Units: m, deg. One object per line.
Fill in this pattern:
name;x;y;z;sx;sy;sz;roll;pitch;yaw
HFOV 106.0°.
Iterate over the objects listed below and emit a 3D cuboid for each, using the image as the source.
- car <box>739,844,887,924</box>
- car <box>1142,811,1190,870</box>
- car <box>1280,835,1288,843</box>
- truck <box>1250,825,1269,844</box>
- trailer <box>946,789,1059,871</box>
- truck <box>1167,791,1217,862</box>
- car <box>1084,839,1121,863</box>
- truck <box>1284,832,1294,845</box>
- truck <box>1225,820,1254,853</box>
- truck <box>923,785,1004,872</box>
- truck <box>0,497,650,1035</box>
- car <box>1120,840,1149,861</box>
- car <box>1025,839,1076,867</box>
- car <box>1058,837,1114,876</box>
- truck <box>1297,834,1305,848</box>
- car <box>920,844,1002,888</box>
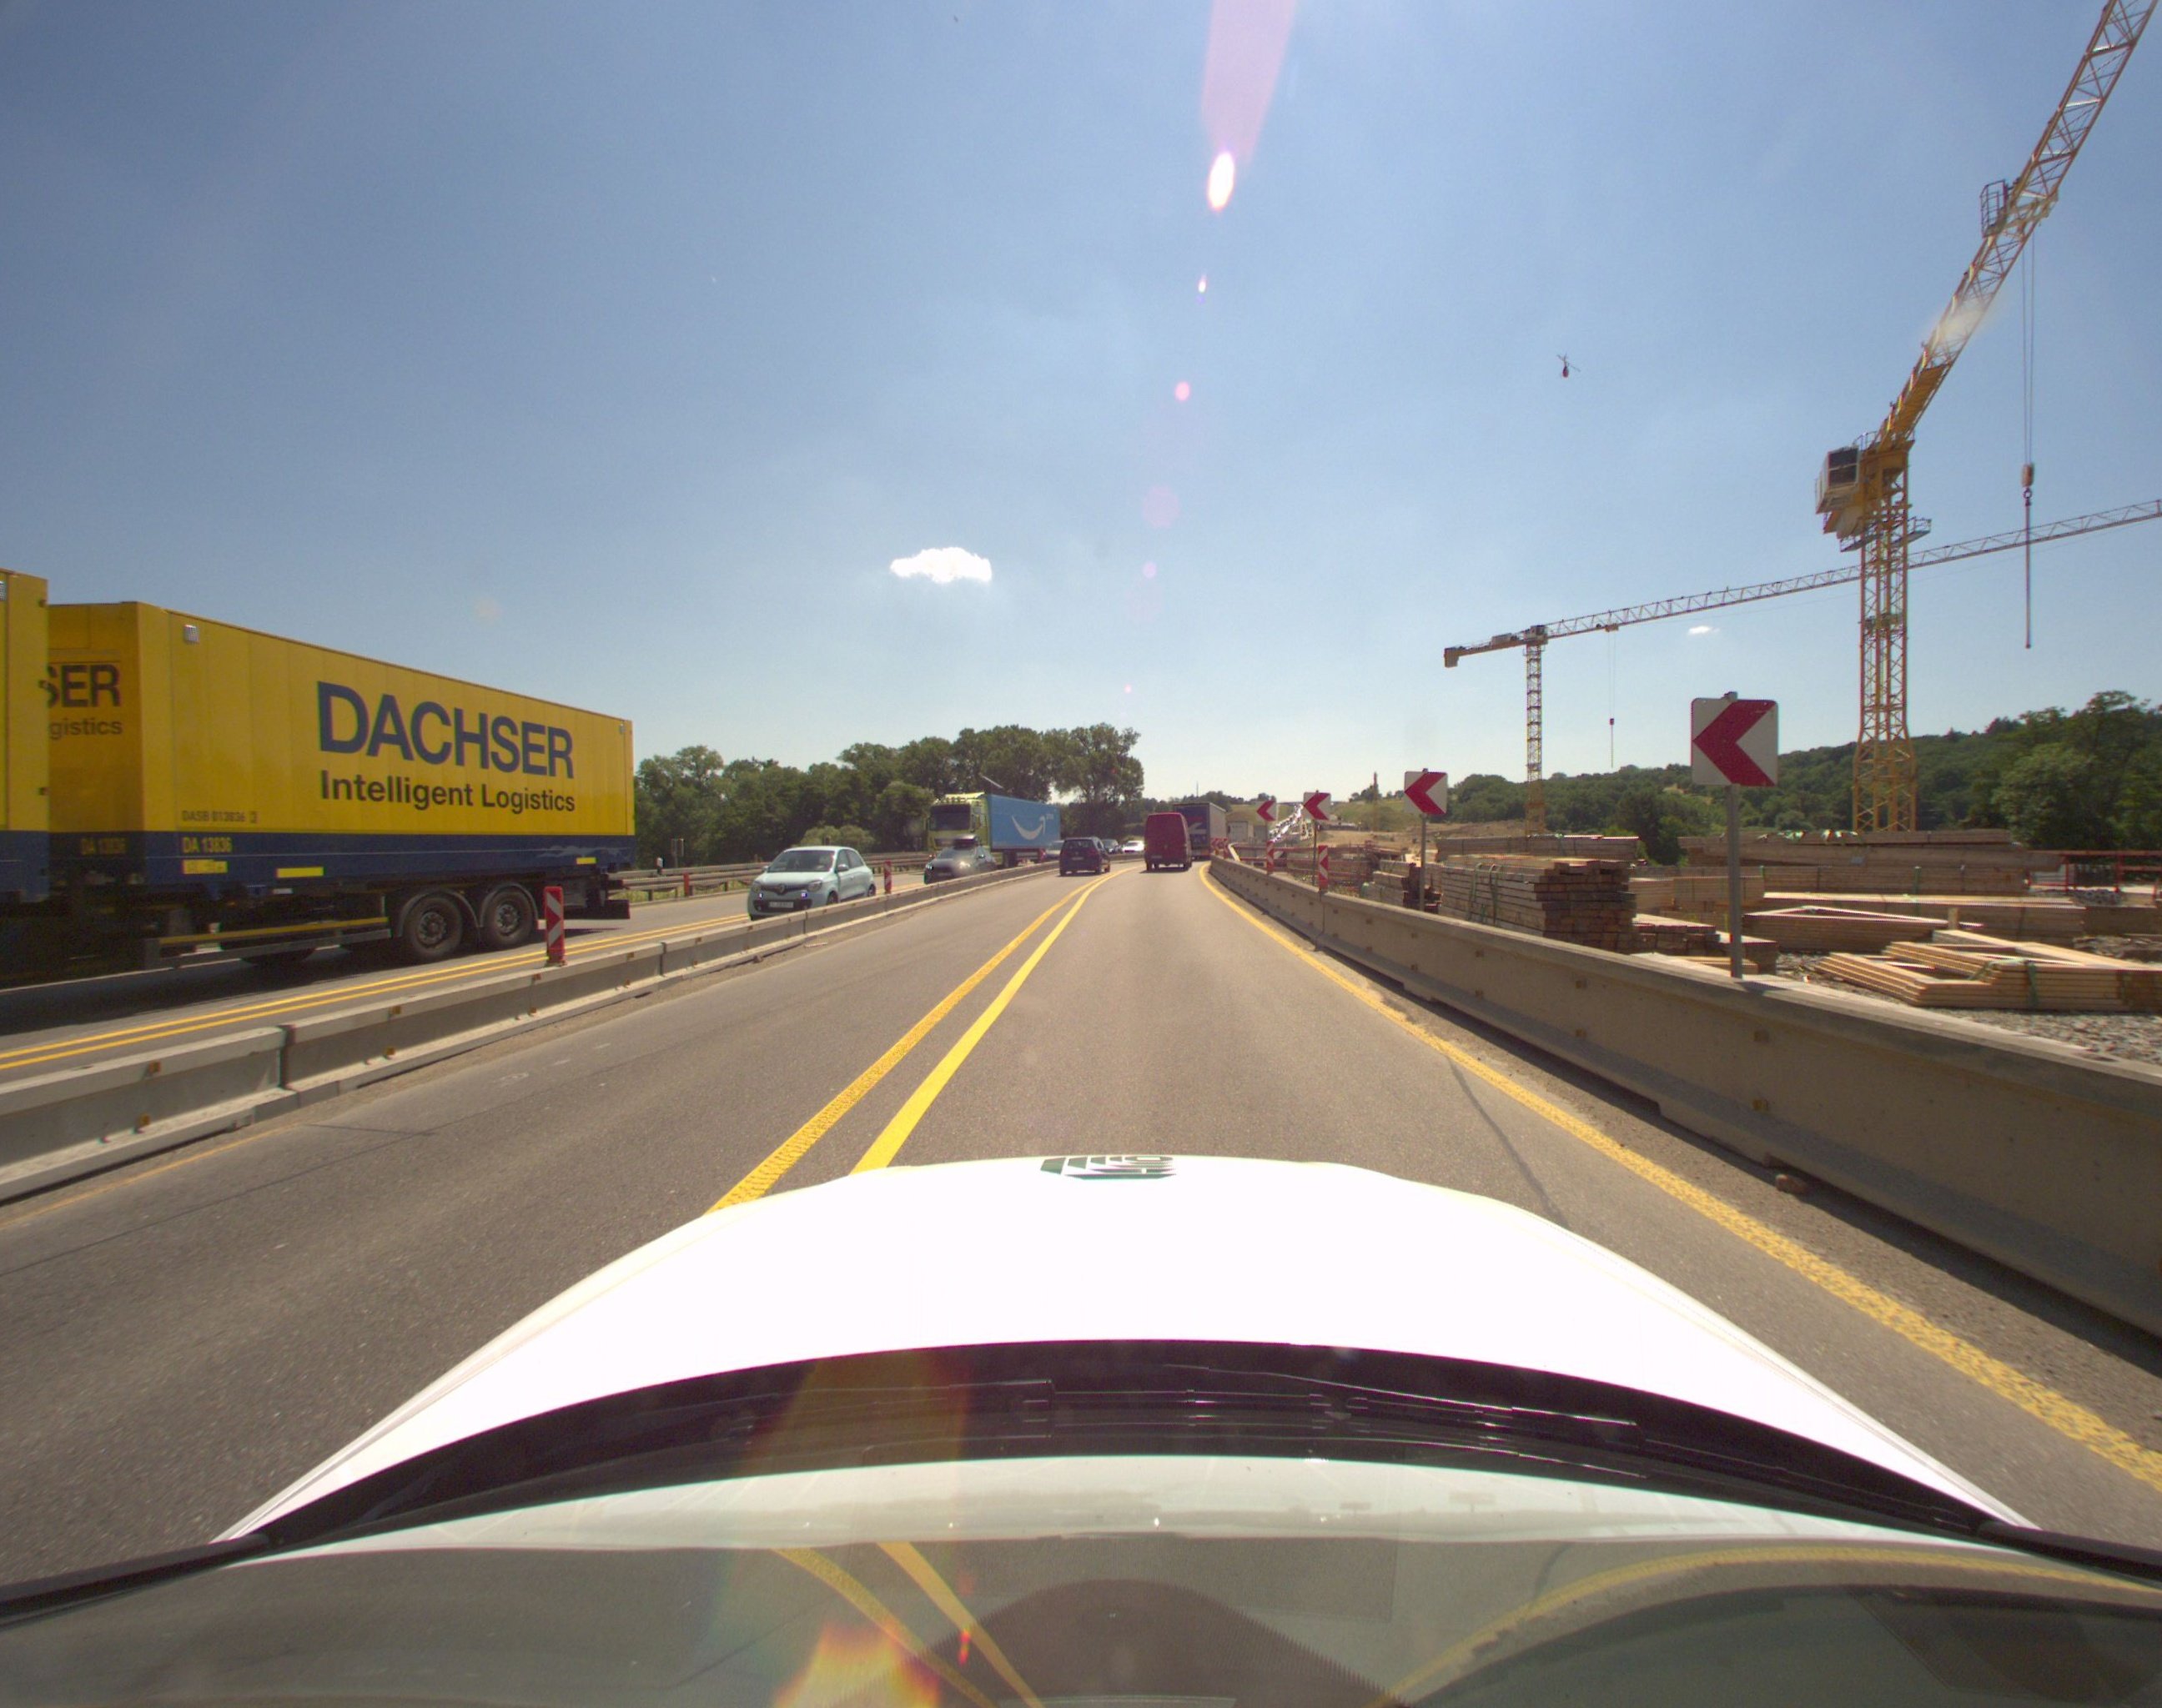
car;-5.672;0.556;17.801;1.629;1.485;4.005;-1;2;4
car;4.133;-0.568;39.204;2.139;2.611;5.448;0;-1;6
car;44.517;-3.244;178.762;1.606;1.699;3.905;0;1;14
truck;34.762;-3.796;158.634;3.160;2.978;8.932;-1;-3;14
trailer;-4.356;-1.258;49.471;2.629;4.292;13.356;0;0;13
truck;8.336;-1.954;60.347;2.924;4.945;6.766;-1;0;14
car;1.633;-0.243;59.806;1.868;1.647;4.731;0;1;12
truck;50.697;-3.789;198.412;2.275;3.196;6.507;-1;1;14
truck;20.656;-2.237;106.005;3.158;3.989;6.769;-1;0;15
truck;-6.012;-1.239;42.472;2.607;4.270;4.748;0;0;12
truck;-10.071;-0.705;8.156;2.796;4.342;15.382;0;0;2
car;4.749;-0.297;71.515;1.808;1.646;4.588;0;2;13
car;-1.721;-0.077;47.617;1.807;1.585;4.317;0;0;14
car;0.304;0.079;36.416;1.723;1.635;4.403;-1;1;11
truck;65.444;-3.722;242.499;2.274;3.739;6.506;-1;-3;15
car;-4.285;0.381;29.894;1.811;1.435;4.593;0;1;7
